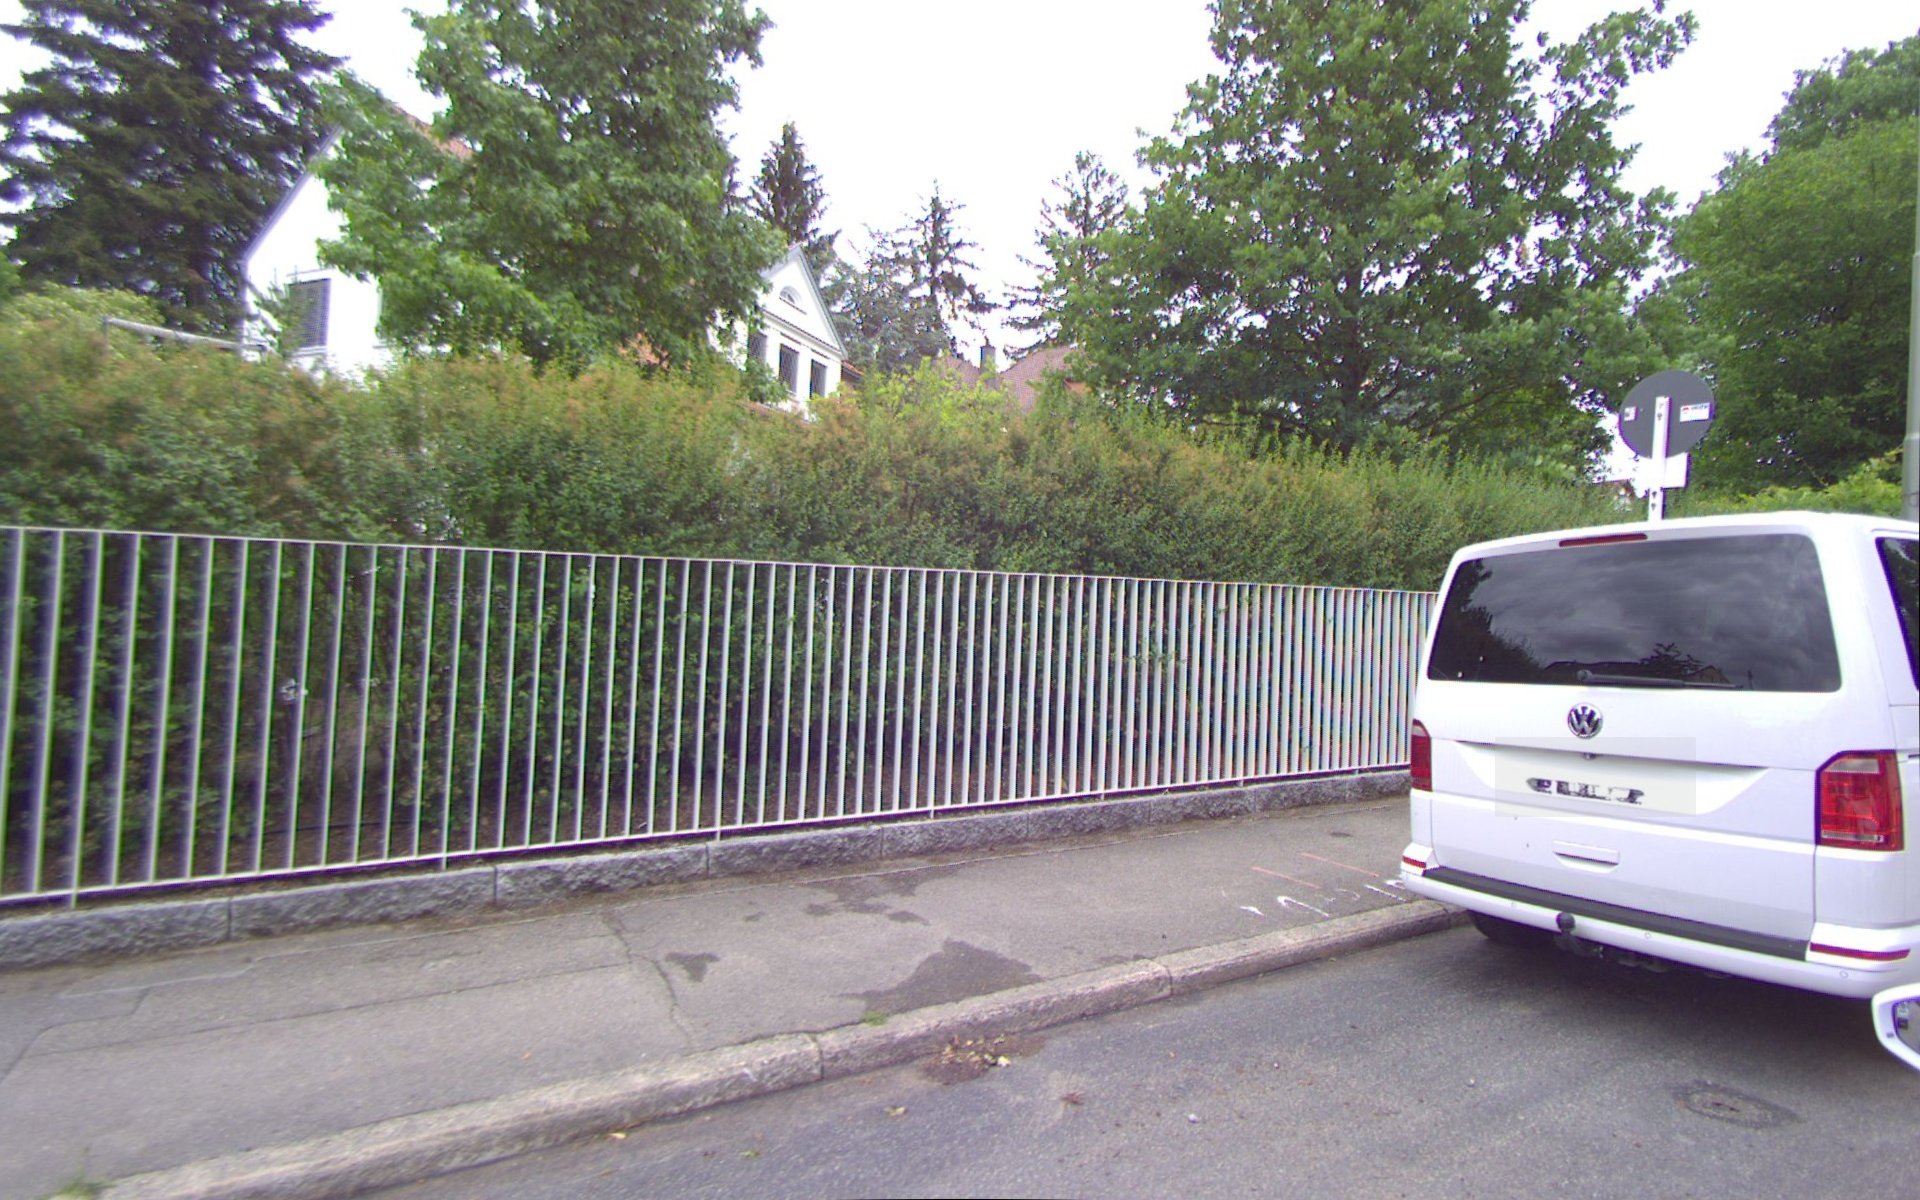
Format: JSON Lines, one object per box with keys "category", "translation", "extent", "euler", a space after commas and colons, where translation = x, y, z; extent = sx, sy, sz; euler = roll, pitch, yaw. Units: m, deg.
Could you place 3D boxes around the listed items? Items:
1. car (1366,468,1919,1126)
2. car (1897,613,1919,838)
{"category": "car", "translation": [4.280, 0.684, 4.955], "extent": [4.566, 1.938, 1.846], "euler": [2, -3, -31]}
{"category": "car", "translation": [9.229, 0.943, 7.872], "extent": [4.296, 1.644, 1.780], "euler": [1, -2, -33]}
